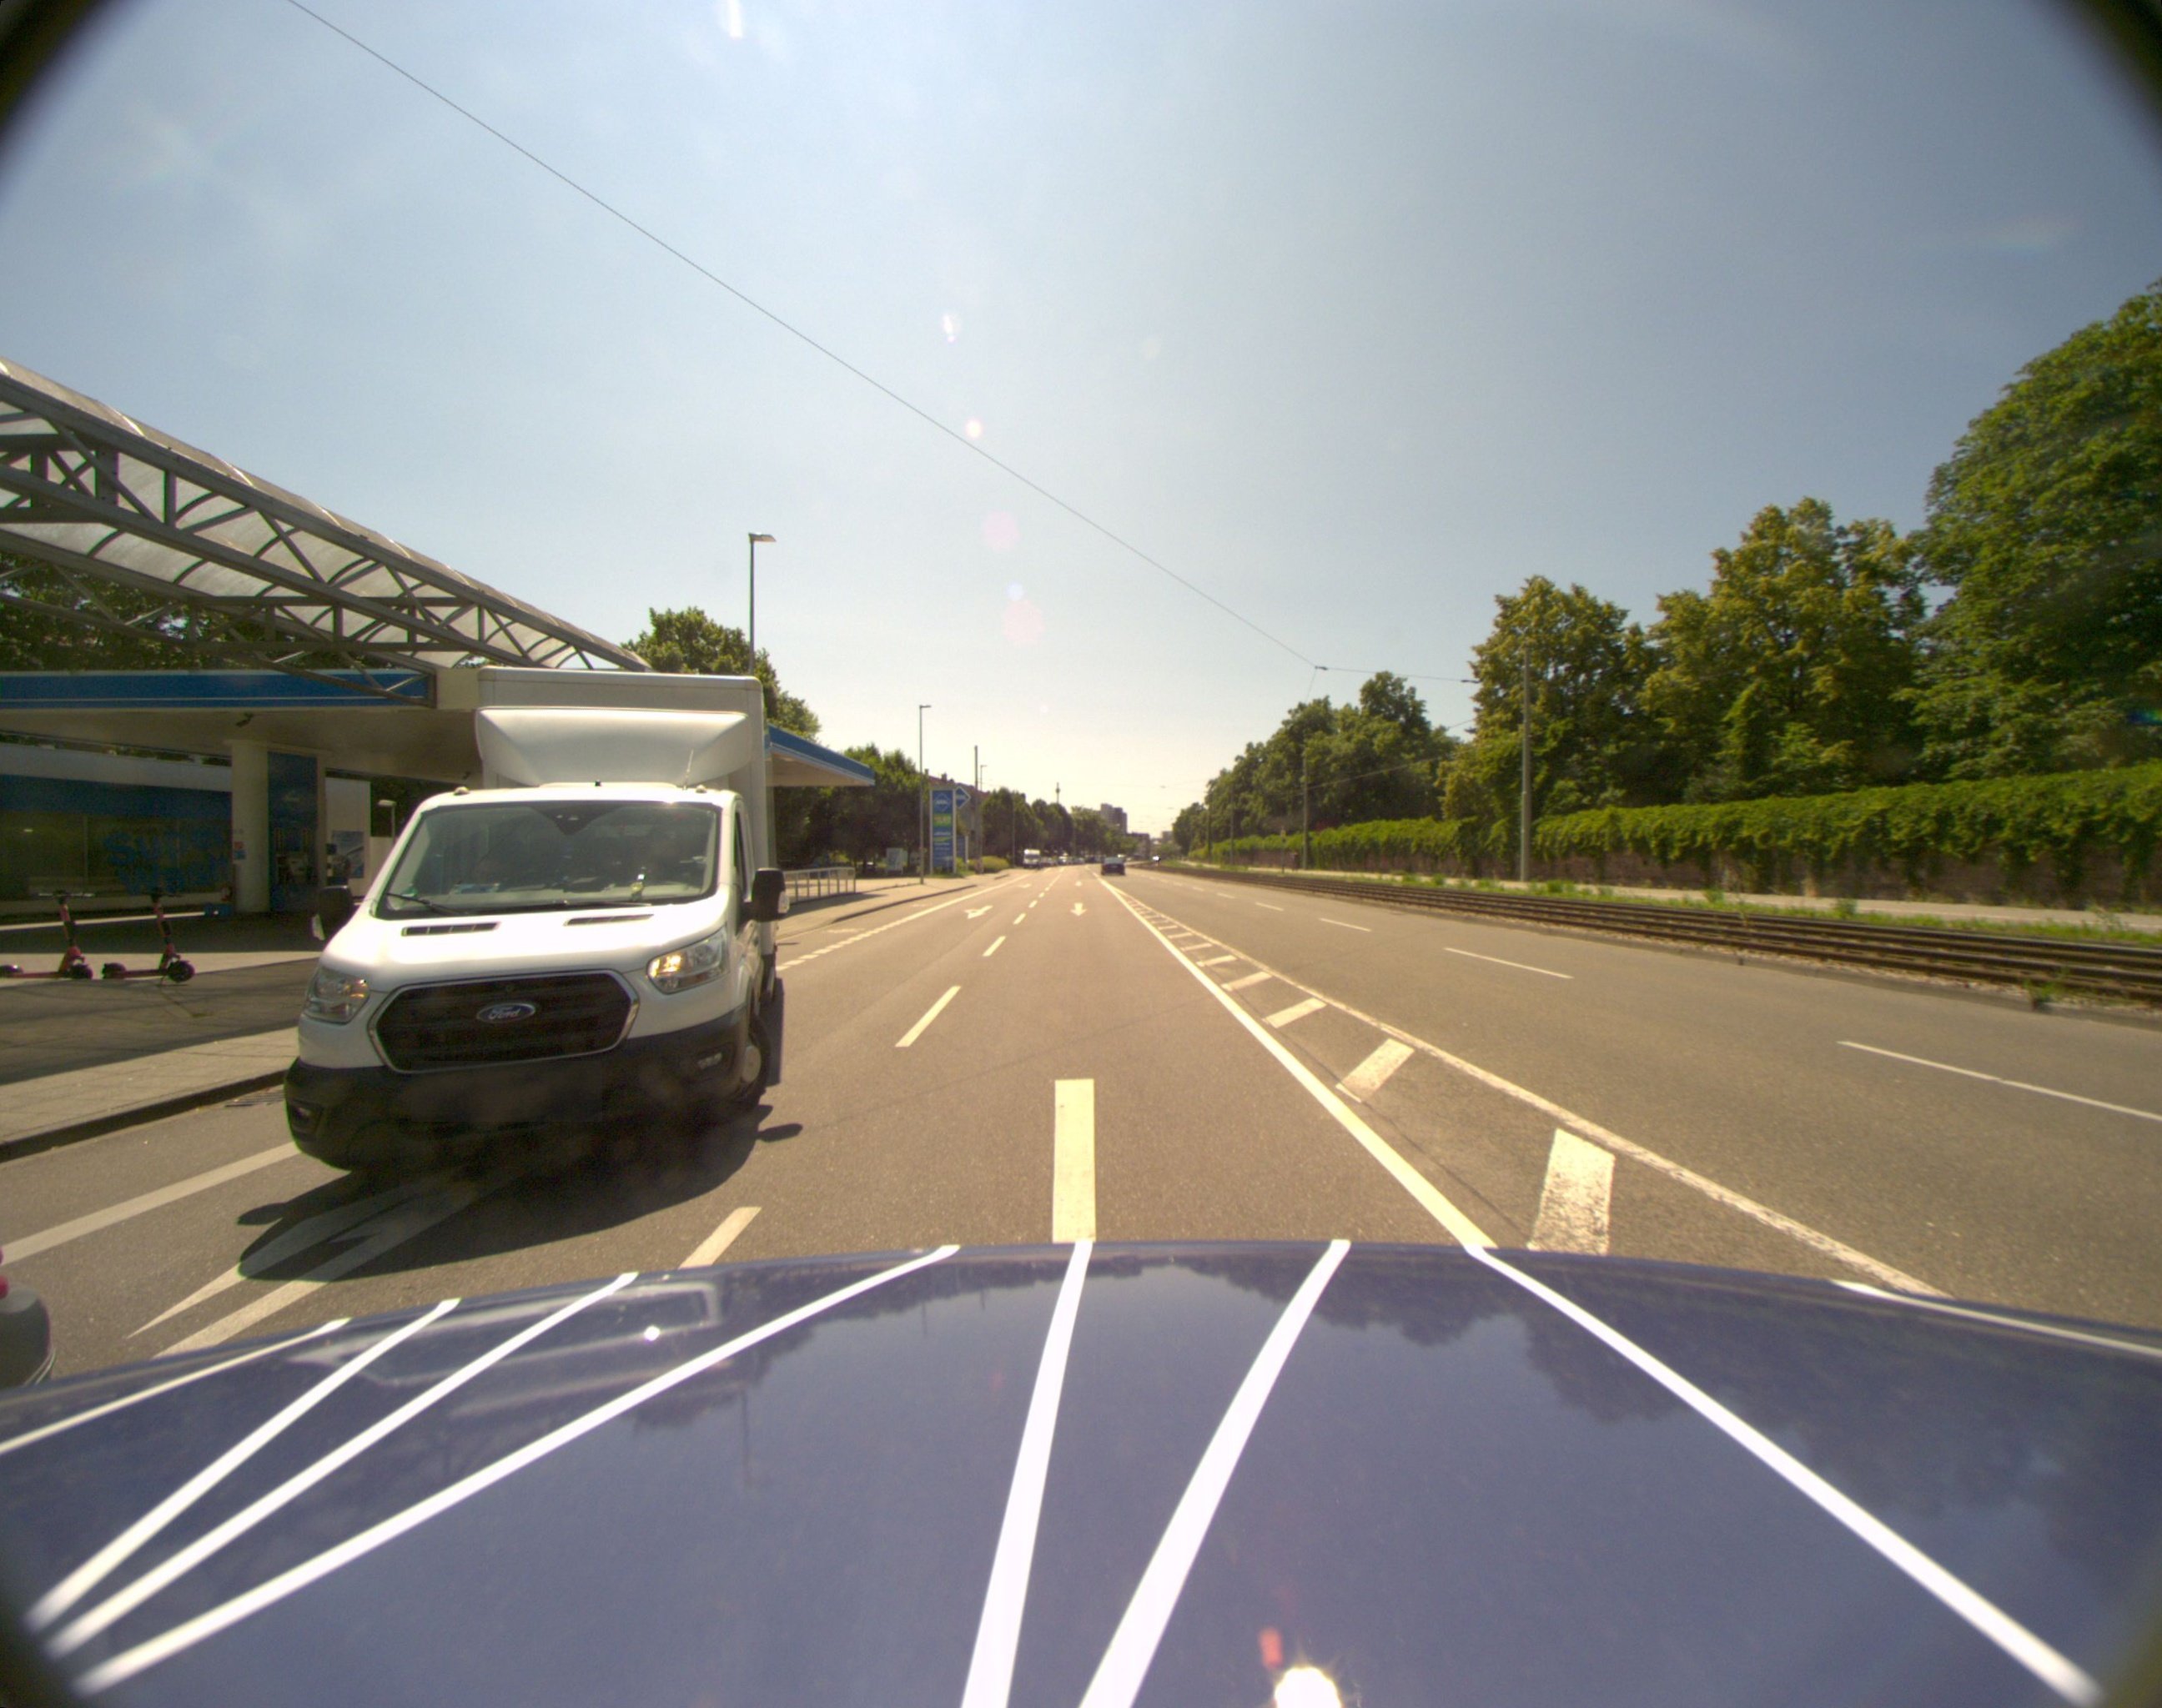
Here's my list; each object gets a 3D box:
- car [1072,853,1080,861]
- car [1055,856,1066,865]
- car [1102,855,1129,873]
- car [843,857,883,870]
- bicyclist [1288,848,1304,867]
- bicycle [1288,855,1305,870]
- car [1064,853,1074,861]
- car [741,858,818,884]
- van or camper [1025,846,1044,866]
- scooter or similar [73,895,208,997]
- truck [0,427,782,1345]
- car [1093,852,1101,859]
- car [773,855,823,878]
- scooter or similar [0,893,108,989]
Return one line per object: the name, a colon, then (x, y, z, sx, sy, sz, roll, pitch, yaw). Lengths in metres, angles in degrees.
car: (-1.073, 0.692, 165.987, 1.807, 1.585, 4.000, -1, 0, 0)
car: (-3.962, 1.196, 145.938, 1.725, 1.586, 4.000, -1, 0, 2)
car: (2.787, 0.811, 62.151, 1.798, 1.391, 4.447, 0, 0, -2)
car: (-26.150, 1.131, 91.203, 4.221, 1.512, 2.001, -1, 0, 7)
bicyclist: (17.280, 0.292, 61.099, 0.997, 1.477, 1.000, -1, 1, 5)
bicycle: (17.273, 0.698, 61.045, 0.830, 1.149, 2.686, -1, 0, 5)
car: (-2.414, 0.650, 157.697, 1.907, 1.707, 4.000, -1, 0, 0)
car: (-17.978, 0.992, 45.468, 1.714, 1.413, 4.149, 0, 0, 27)
van or camper: (-5.879, 0.263, 97.111, 2.126, 2.469, 5.992, 2, 0, -1)
scooter or similar: (-11.942, 1.162, 9.665, 1.176, 1.233, 0.411, -1, 1, 1)
truck: (-4.133, 0.125, 6.882, 2.430, 3.372, 7.819, -1, 0, -20)
car: (4.264, 0.445, 197.162, 1.998, 1.718, 4.000, -1, 0, 0)
car: (-22.734, 0.993, 61.221, 1.998, 1.653, 4.411, -1, 1, 4)
scooter or similar: (-13.190, 1.096, 9.652, 1.138, 1.170, 0.384, -1, 1, 1)
